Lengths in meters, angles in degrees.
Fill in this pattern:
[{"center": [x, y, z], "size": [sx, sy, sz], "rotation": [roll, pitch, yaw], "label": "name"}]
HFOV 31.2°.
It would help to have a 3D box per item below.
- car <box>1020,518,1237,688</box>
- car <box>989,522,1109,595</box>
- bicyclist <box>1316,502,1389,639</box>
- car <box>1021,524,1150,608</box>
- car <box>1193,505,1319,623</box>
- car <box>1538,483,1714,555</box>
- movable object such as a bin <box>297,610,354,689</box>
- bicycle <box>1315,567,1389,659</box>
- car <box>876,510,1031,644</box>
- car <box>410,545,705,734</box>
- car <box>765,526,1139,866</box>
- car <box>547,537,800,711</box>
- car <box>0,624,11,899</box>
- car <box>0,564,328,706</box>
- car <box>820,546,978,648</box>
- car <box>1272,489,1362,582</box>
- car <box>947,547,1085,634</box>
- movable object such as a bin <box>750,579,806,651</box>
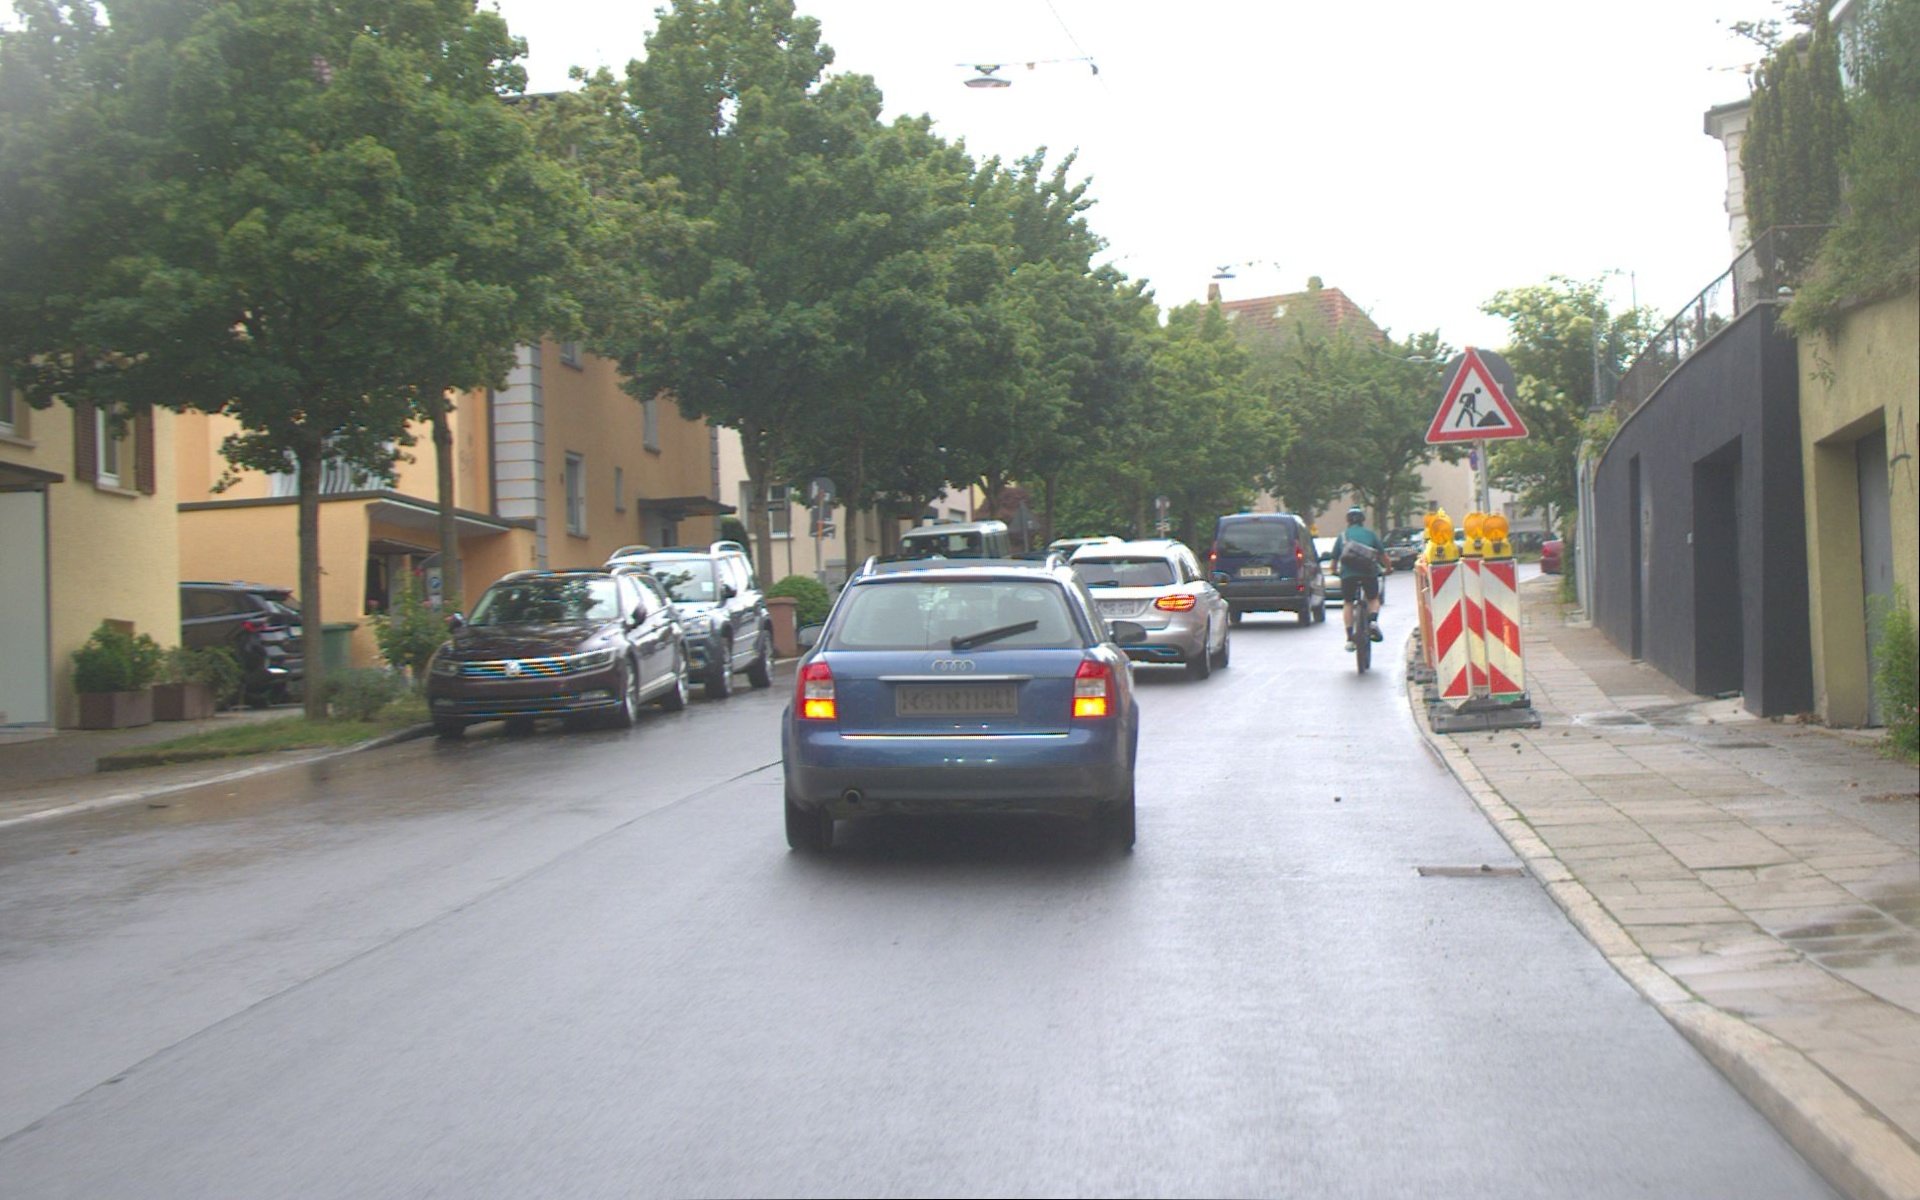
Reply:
[{"center": [1.907, -0.023, 37.662], "size": [1.976, 1.629, 4.234], "rotation": [0, 3, 8], "label": "car"}, {"center": [2.721, -1.259, 104.615], "size": [3.212, 1.734, 1.479], "rotation": [-8, 1, 14], "label": "car"}, {"center": [4.315, -0.327, 37.803], "size": [0.725, 1.467, 0.886], "rotation": [-1, 1, 9], "label": "bicyclist"}, {"center": [2.686, -0.727, 72.708], "size": [1.769, 1.621, 4.687], "rotation": [-3, 0, 13], "label": "car"}, {"center": [4.907, -0.628, 56.575], "size": [1.734, 1.762, 4.234], "rotation": [0, 3, 9], "label": "car"}, {"center": [16.250, -1.970, 83.791], "size": [3.990, 1.461, 1.738], "rotation": [-3, 2, 16], "label": "car"}, {"center": [-8.434, 0.661, 45.720], "size": [0.587, 1.020, 0.586], "rotation": [-1, 1, 6], "label": "movable object such as a bin"}, {"center": [4.319, 0.131, 37.807], "size": [0.730, 0.961, 1.670], "rotation": [-1, 1, 9], "label": "bicycle"}, {"center": [-0.063, -0.448, 59.788], "size": [1.792, 2.042, 4.780], "rotation": [-5, 1, 9], "label": "car"}, {"center": [-3.717, 0.313, 32.580], "size": [1.768, 1.530, 4.605], "rotation": [-4, 1, 5], "label": "car"}, {"center": [0.016, 0.403, 17.962], "size": [1.733, 1.461, 4.001], "rotation": [0, 3, 2], "label": "car"}, {"center": [-3.105, 0.220, 38.088], "size": [1.769, 1.629, 4.108], "rotation": [-5, 1, 8], "label": "car"}, {"center": [-5.439, 0.702, 14.150], "size": [1.682, 1.467, 3.865], "rotation": [-2, 0, 5], "label": "car"}, {"center": [-10.263, 0.436, 43.418], "size": [4.054, 1.640, 1.863], "rotation": [-2, 0, 8], "label": "car"}, {"center": [-0.921, -0.083, 54.520], "size": [1.769, 1.431, 4.346], "rotation": [-3, 1, 8], "label": "car"}, {"center": [7.361, -1.349, 70.593], "size": [1.734, 1.762, 4.234], "rotation": [0, 3, 7], "label": "car"}, {"center": [1.119, -0.203, 65.969], "size": [1.769, 1.382, 4.632], "rotation": [-3, 2, 11], "label": "car"}, {"center": [-2.767, 0.220, 52.379], "size": [0.682, 1.008, 0.708], "rotation": [-6, 1, 3], "label": "movable object such as a bin"}]
